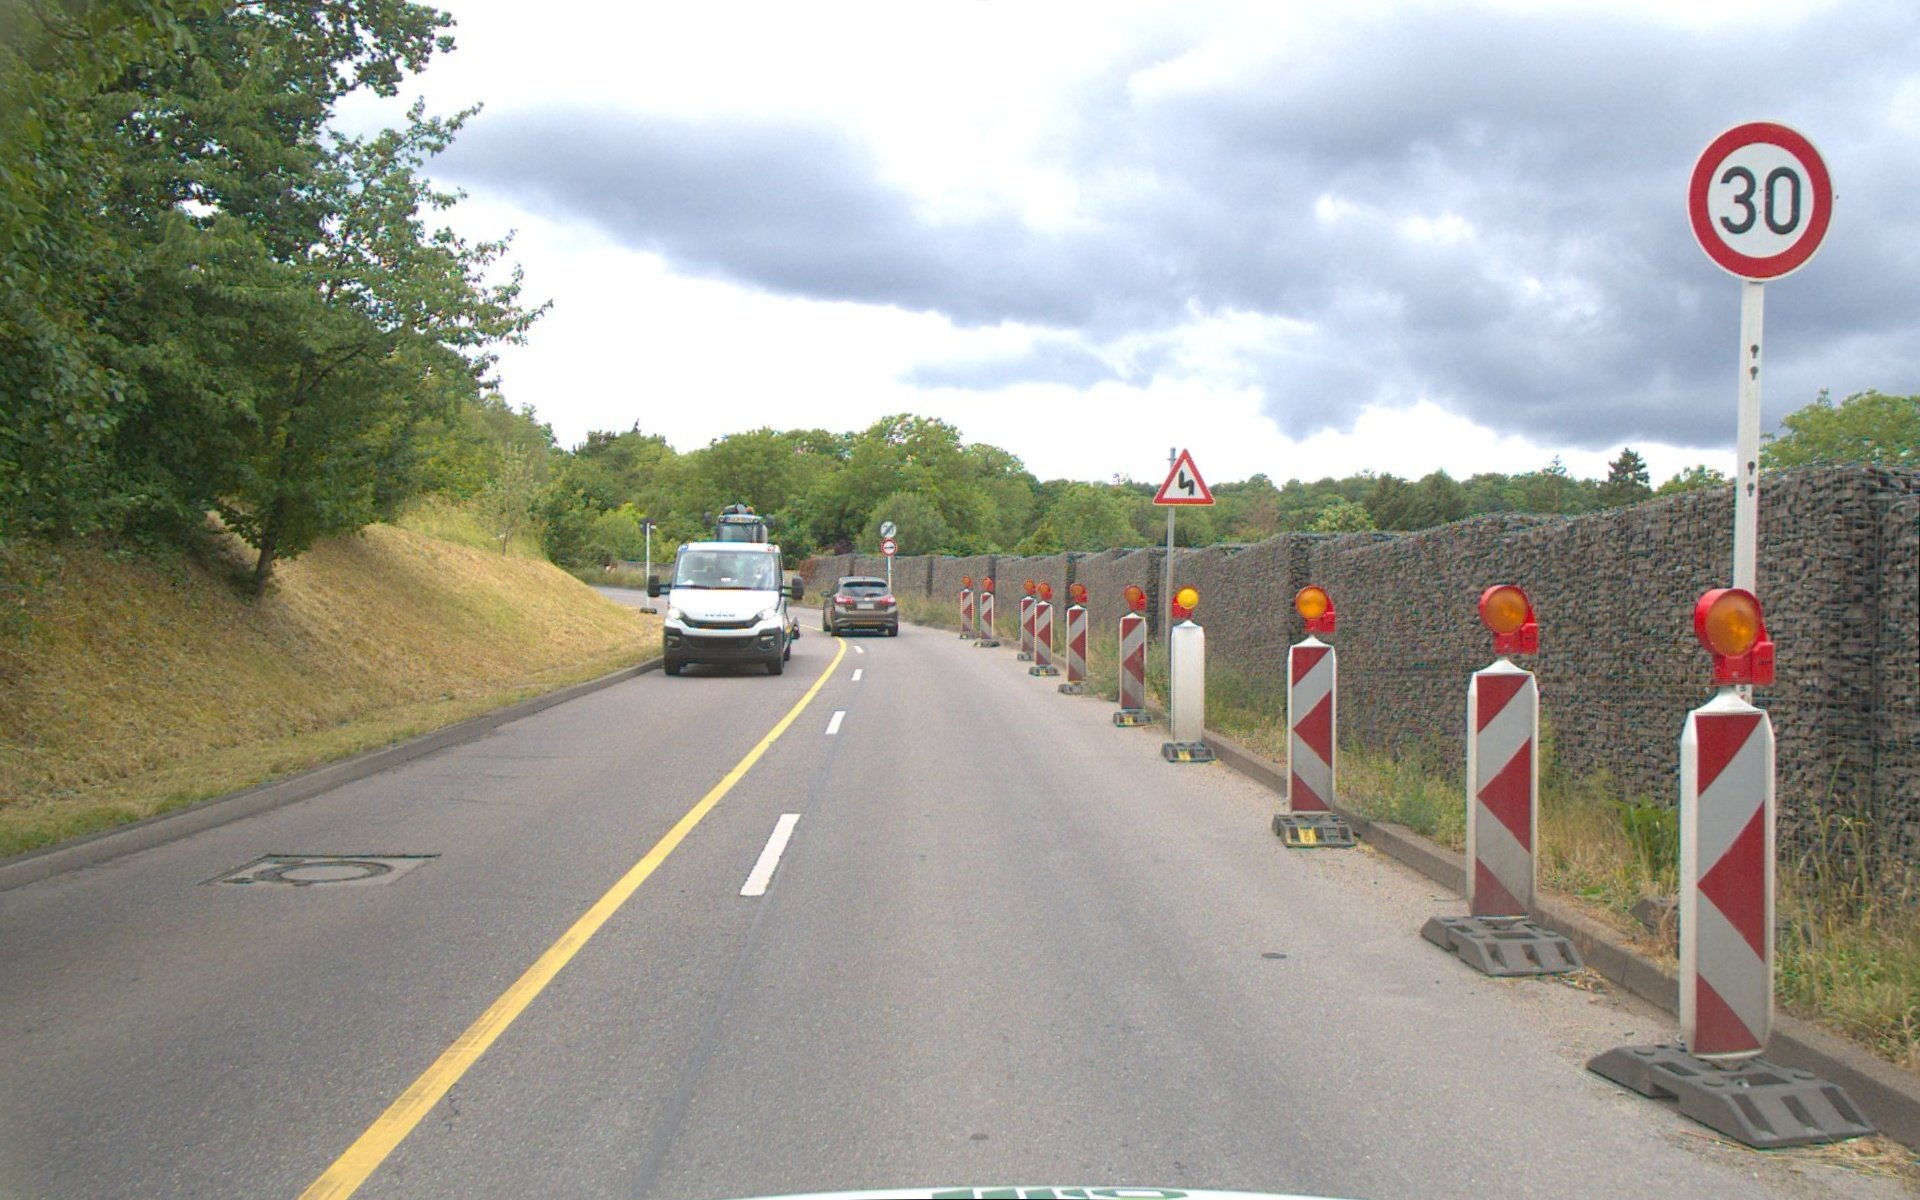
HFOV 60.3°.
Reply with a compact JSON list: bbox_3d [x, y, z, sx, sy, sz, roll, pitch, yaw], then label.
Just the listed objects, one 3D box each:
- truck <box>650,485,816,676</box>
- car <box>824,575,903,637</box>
[{"bbox_3d":[-3.989,-0.359,30.450,2.170,3.067,7.737,0,1,-2],"label":"truck"},{"bbox_3d":[-2.620,0.115,44.282,1.805,1.509,3.994,-1,2,-8],"label":"car"}]
